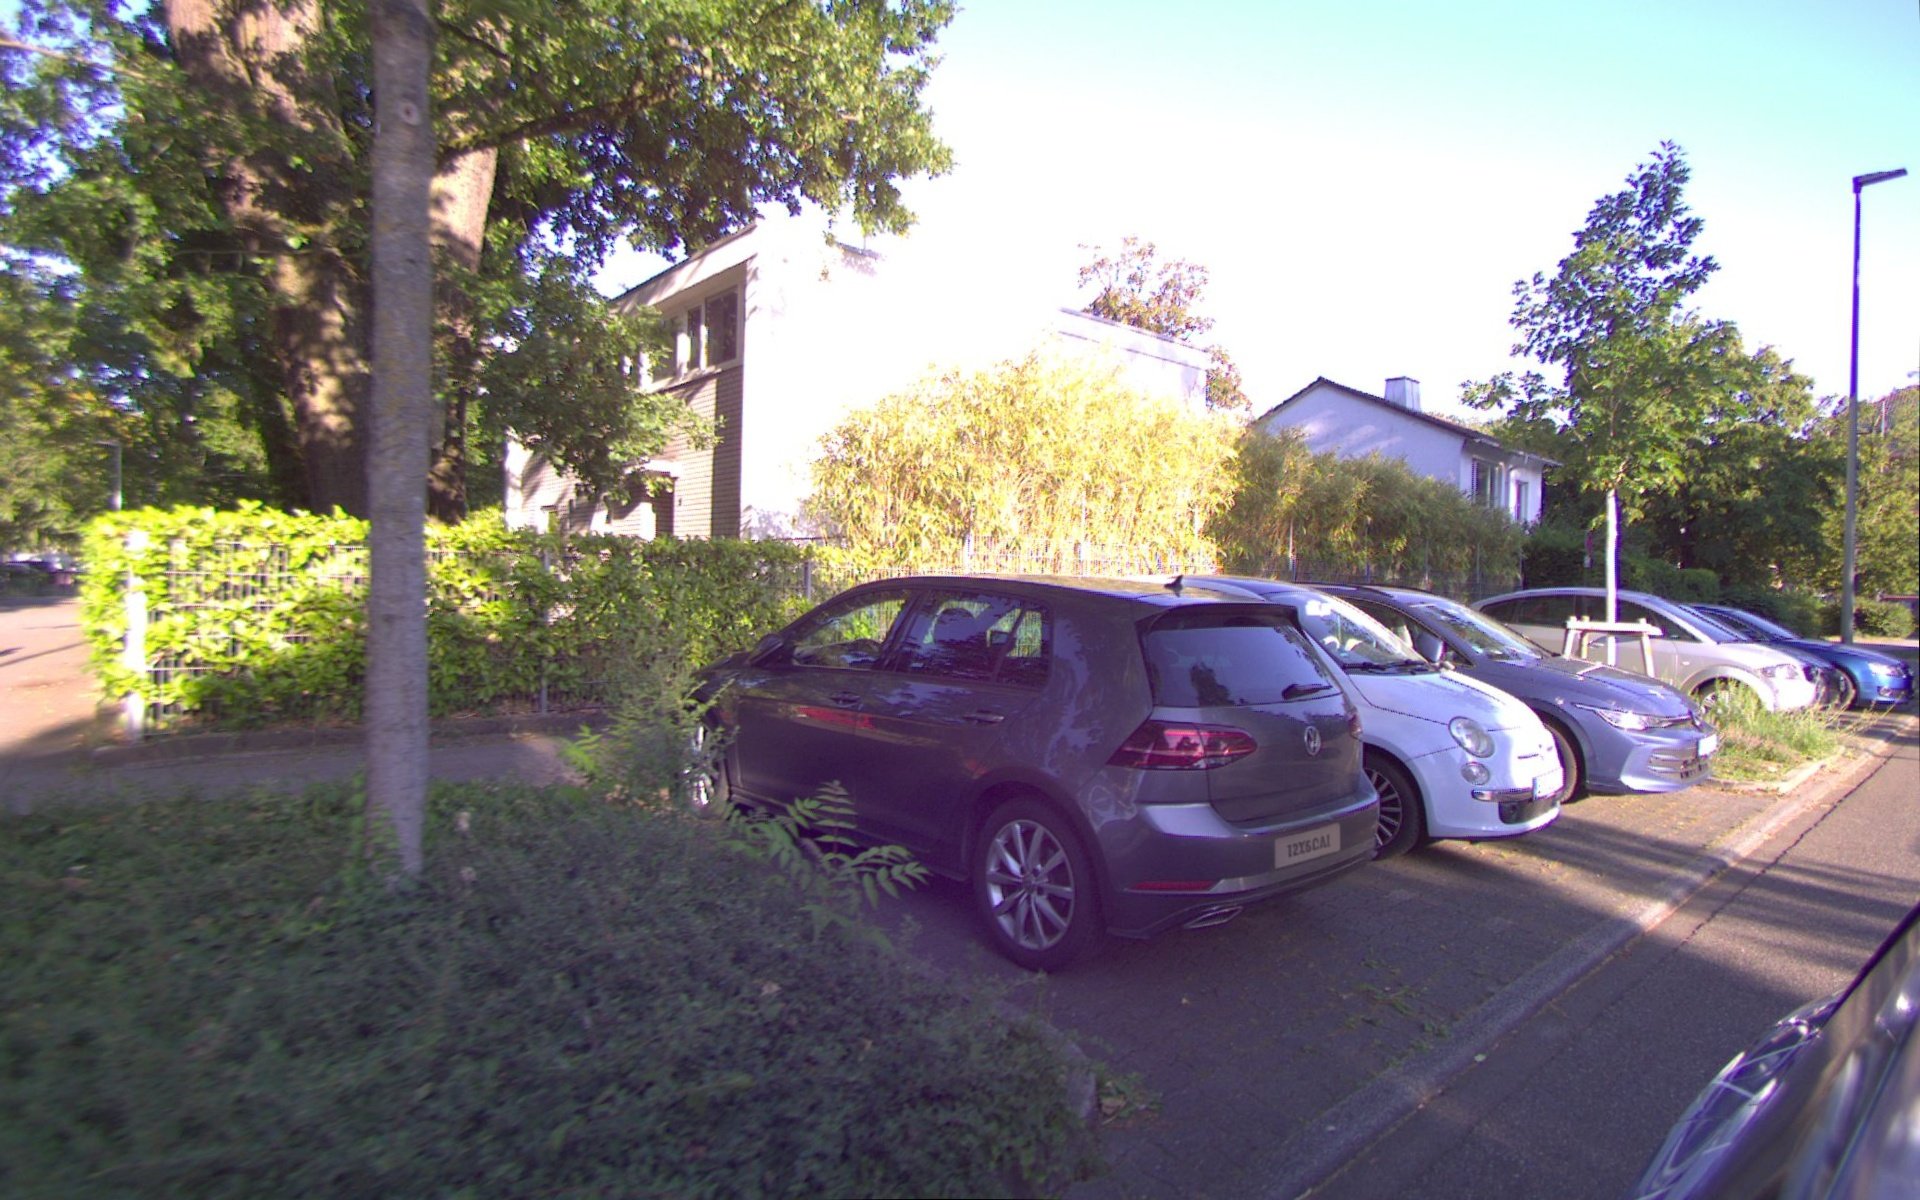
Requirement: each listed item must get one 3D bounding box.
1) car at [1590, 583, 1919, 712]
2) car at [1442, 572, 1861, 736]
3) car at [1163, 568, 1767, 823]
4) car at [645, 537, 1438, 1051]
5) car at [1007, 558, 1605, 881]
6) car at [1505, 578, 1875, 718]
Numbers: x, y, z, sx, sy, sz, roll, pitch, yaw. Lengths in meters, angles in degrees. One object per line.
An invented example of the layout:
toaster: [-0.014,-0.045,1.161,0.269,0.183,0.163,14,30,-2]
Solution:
car: [12.008,0.607,15.270,1.716,1.556,3.916,0,3,-43]
car: [8.261,0.517,12.345,1.716,1.556,3.916,0,3,-43]
car: [3.895,0.548,8.421,1.779,1.475,4.096,0,3,-39]
car: [0.034,0.515,5.171,1.617,1.534,3.995,0,3,-42]
car: [2.082,0.530,6.690,1.610,1.509,3.350,0,3,-43]
car: [10.070,0.545,14.178,1.716,1.556,3.916,0,3,-43]
